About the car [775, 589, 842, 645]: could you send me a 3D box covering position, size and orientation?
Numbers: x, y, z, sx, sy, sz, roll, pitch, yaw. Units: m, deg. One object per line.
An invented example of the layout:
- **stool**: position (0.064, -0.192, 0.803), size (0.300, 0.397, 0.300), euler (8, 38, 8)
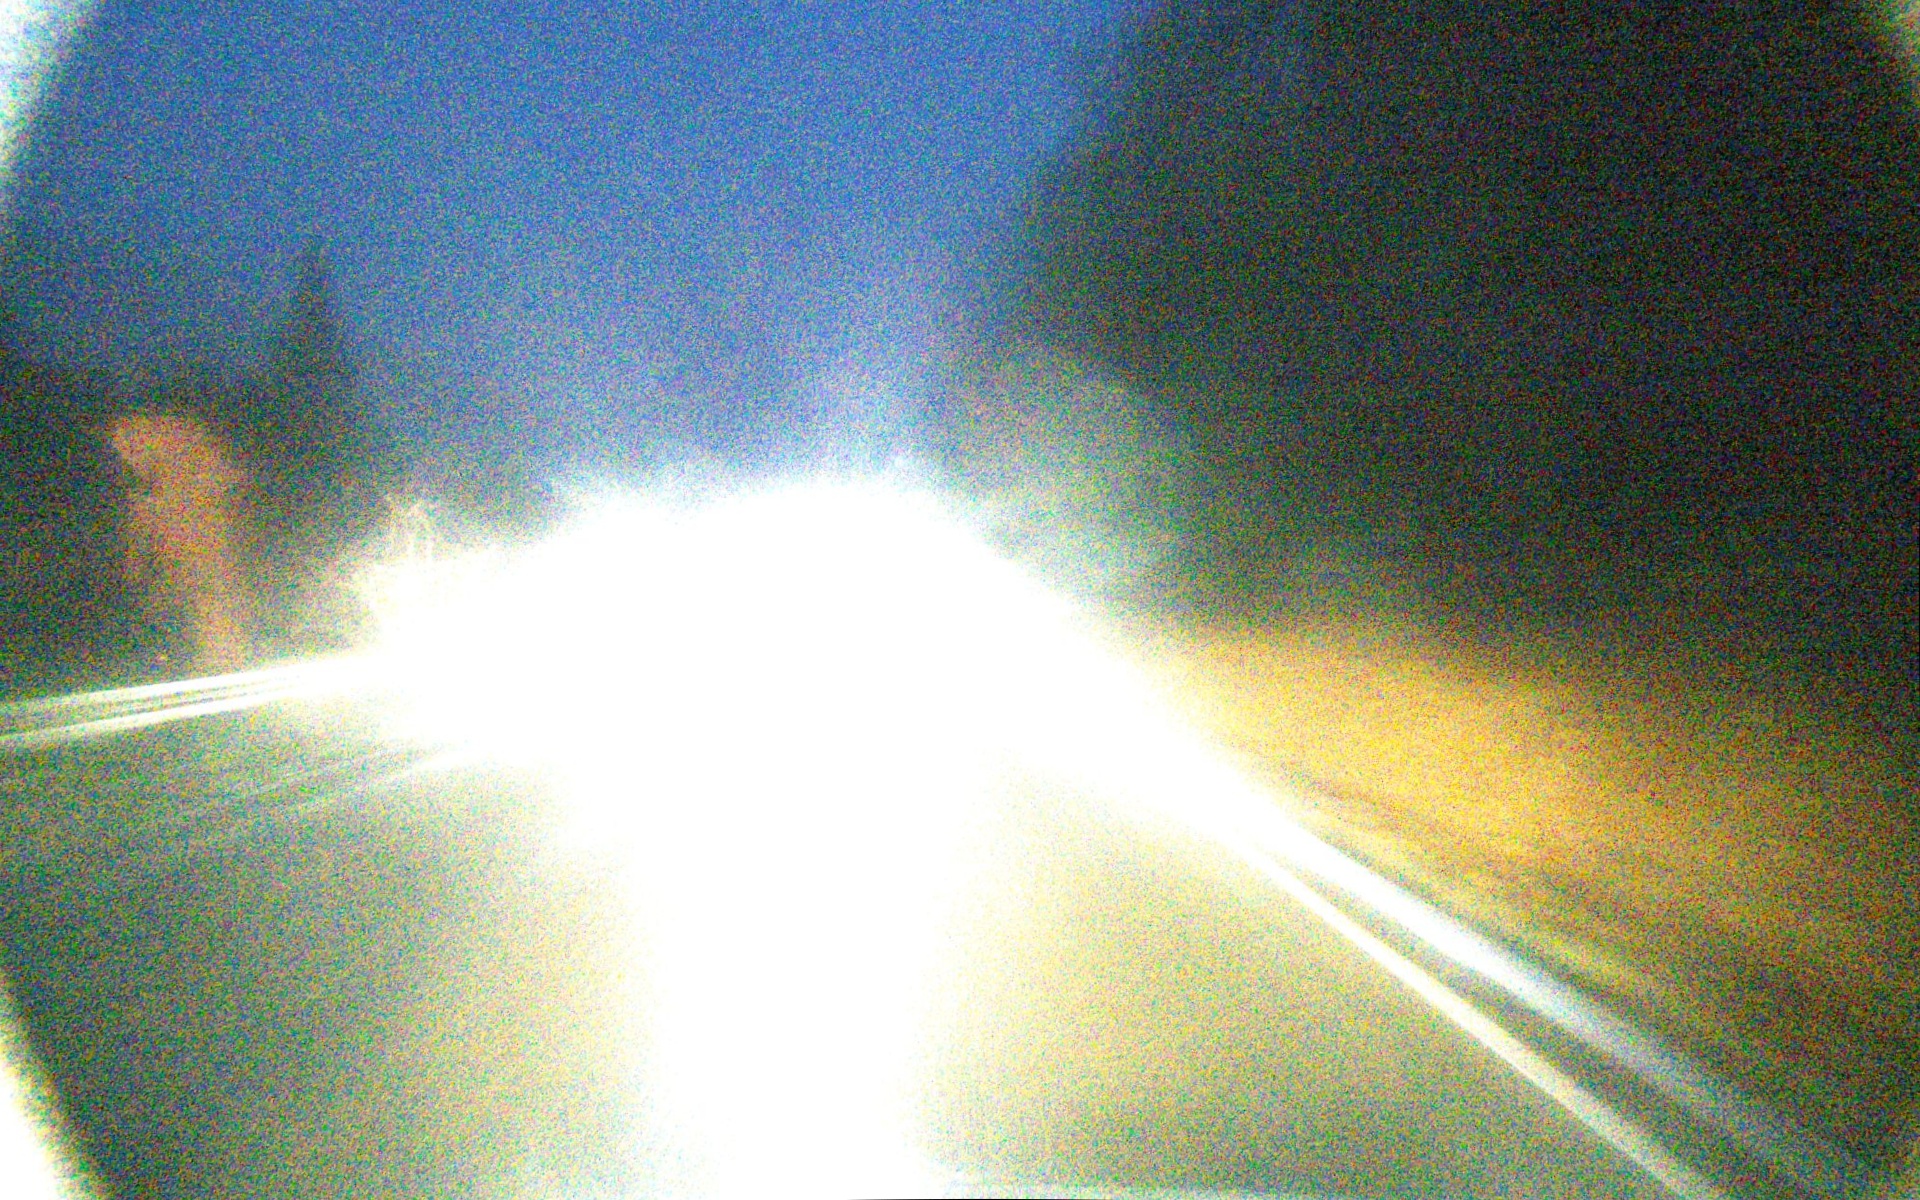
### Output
- **car**: position (-4.621, 0.497, 50.757), size (1.793, 1.595, 3.778), euler (1, 0, -2)
